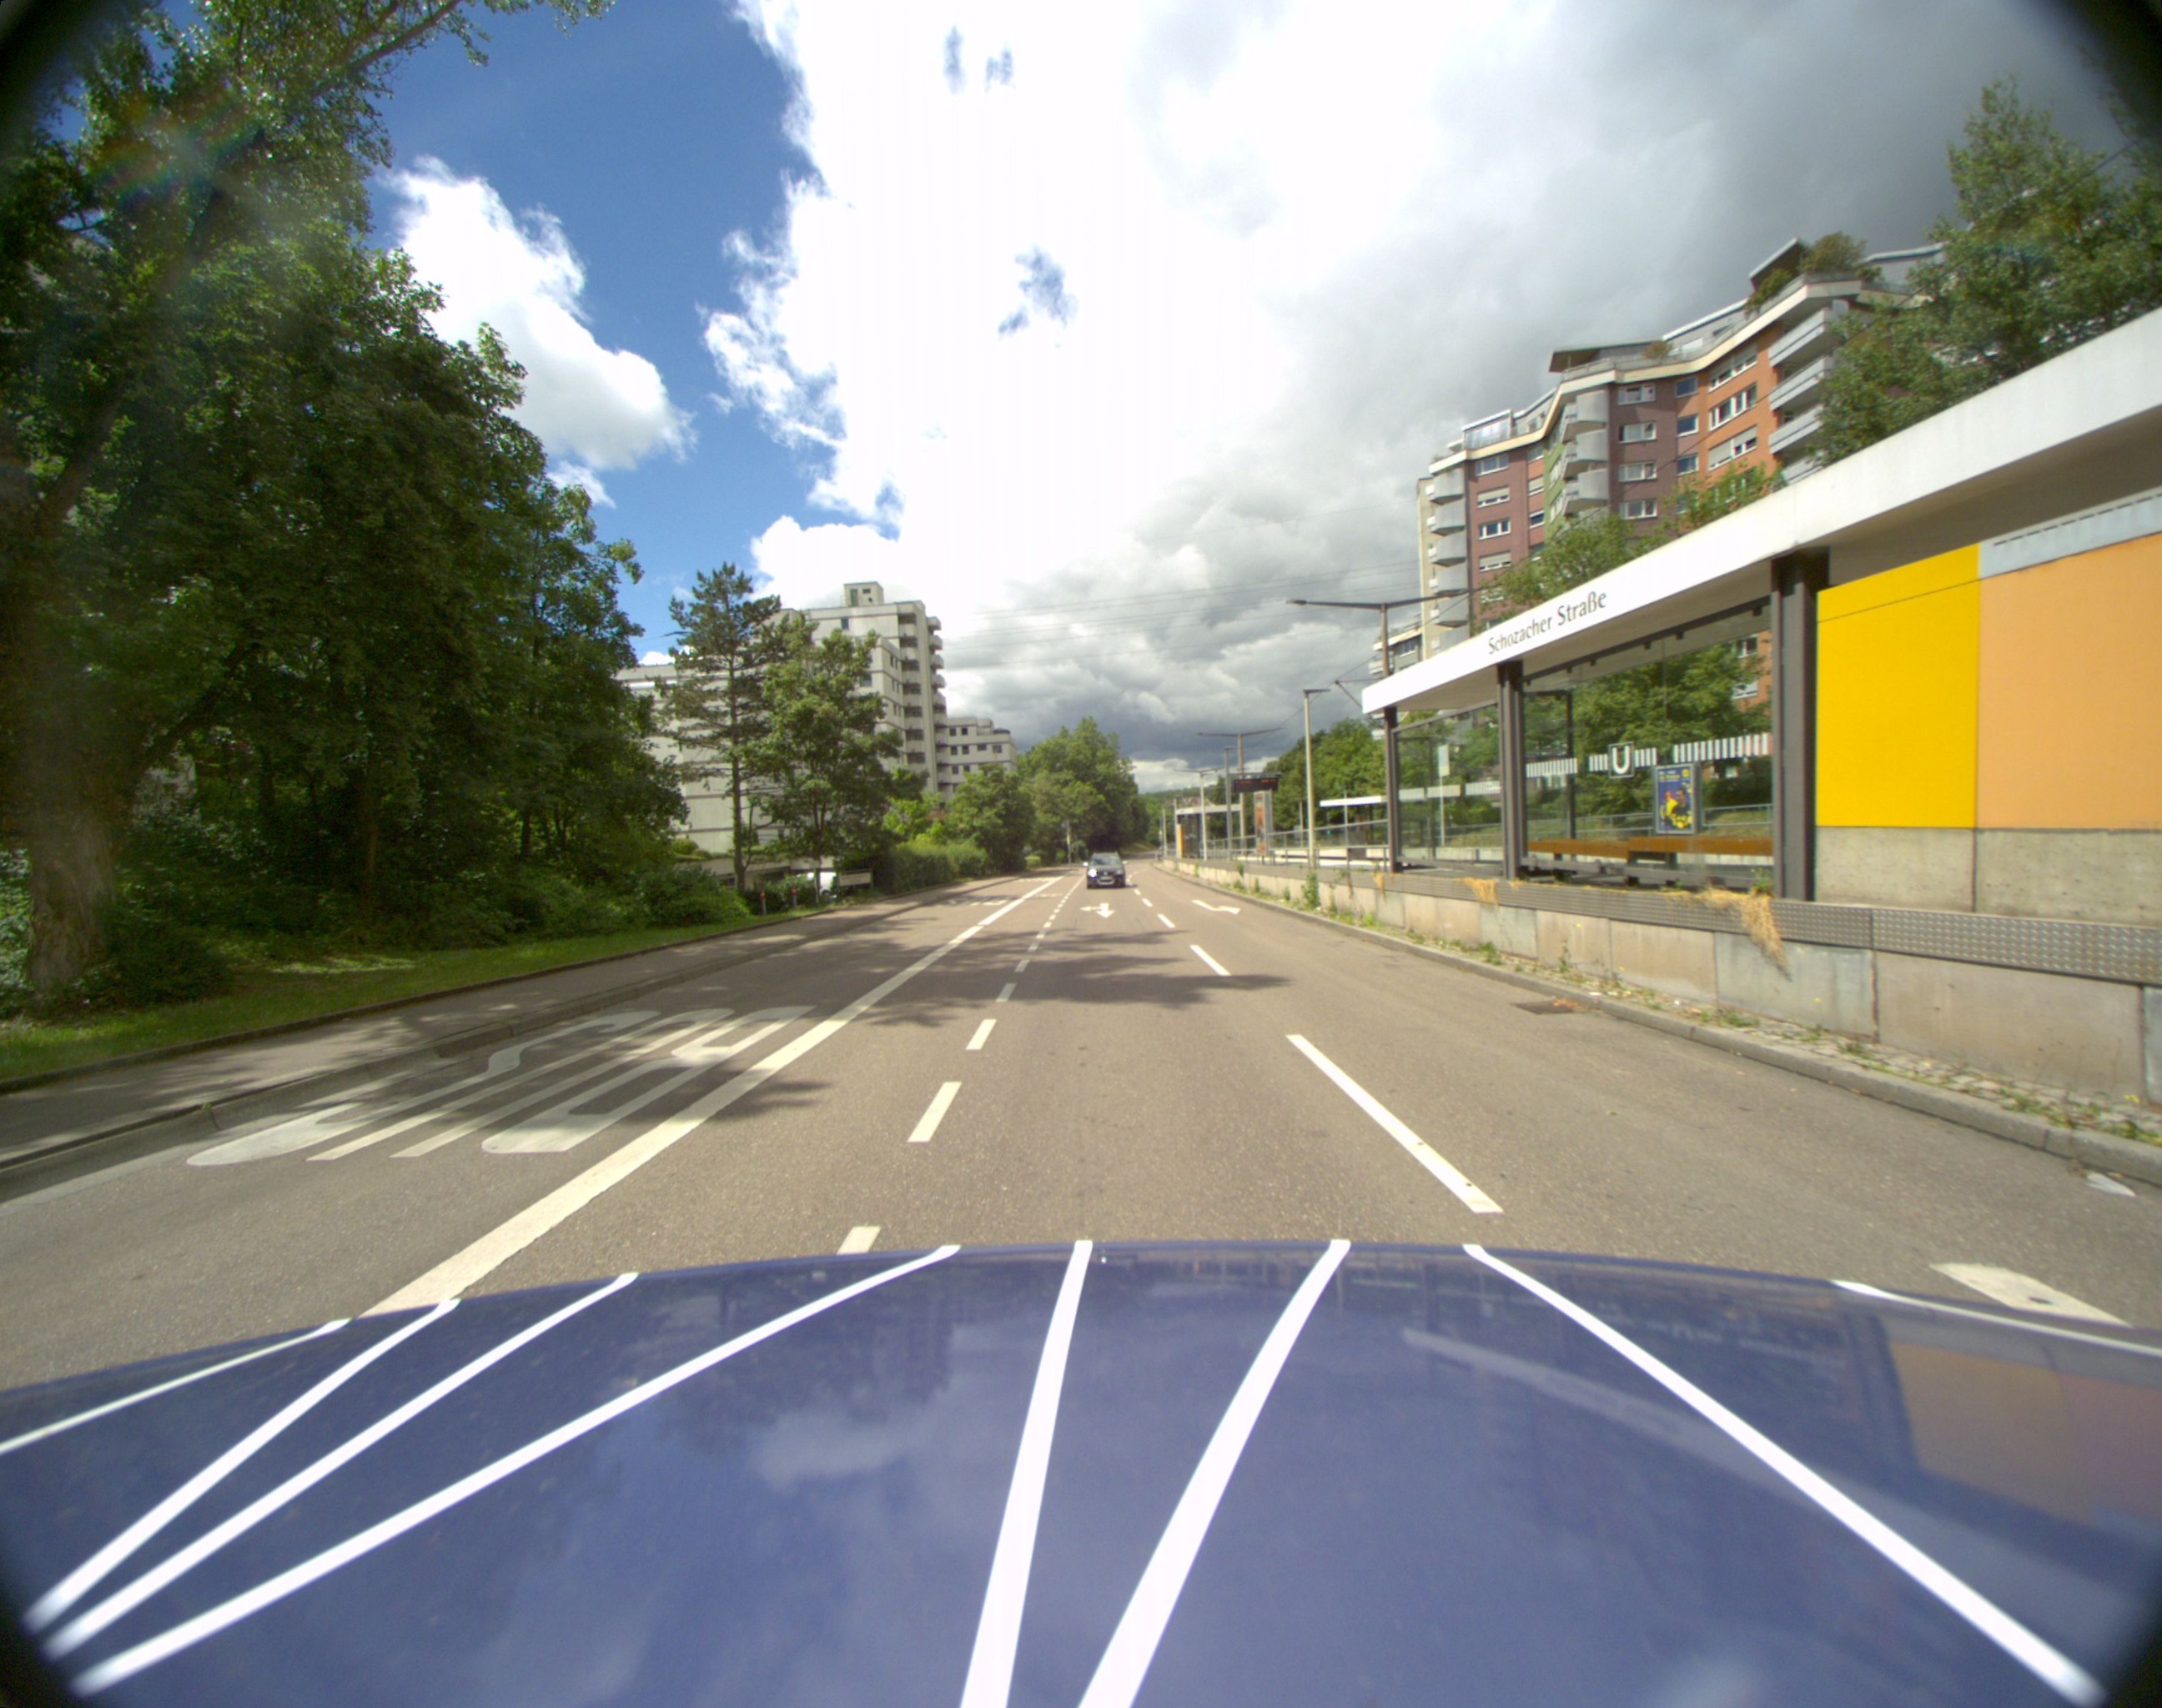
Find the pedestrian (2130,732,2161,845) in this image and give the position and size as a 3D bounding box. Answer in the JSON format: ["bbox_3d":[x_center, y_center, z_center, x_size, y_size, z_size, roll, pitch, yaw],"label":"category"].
[{"bbox_3d":[15.838,-0.954,11.102,0.522,1.635,0.563,-3,1,-31],"label":"pedestrian"}]

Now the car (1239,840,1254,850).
[{"bbox_3d":[24.573,-1.335,112.770,1.658,1.504,3.738,-2,1,5],"label":"car"}]

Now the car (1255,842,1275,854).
[{"bbox_3d":[23.279,-0.761,96.184,1.658,1.410,4.000,-2,1,1],"label":"car"}]

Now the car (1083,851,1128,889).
[{"bbox_3d":[1.135,0.668,33.425,1.736,1.477,3.817,-2,1,5],"label":"car"}]
